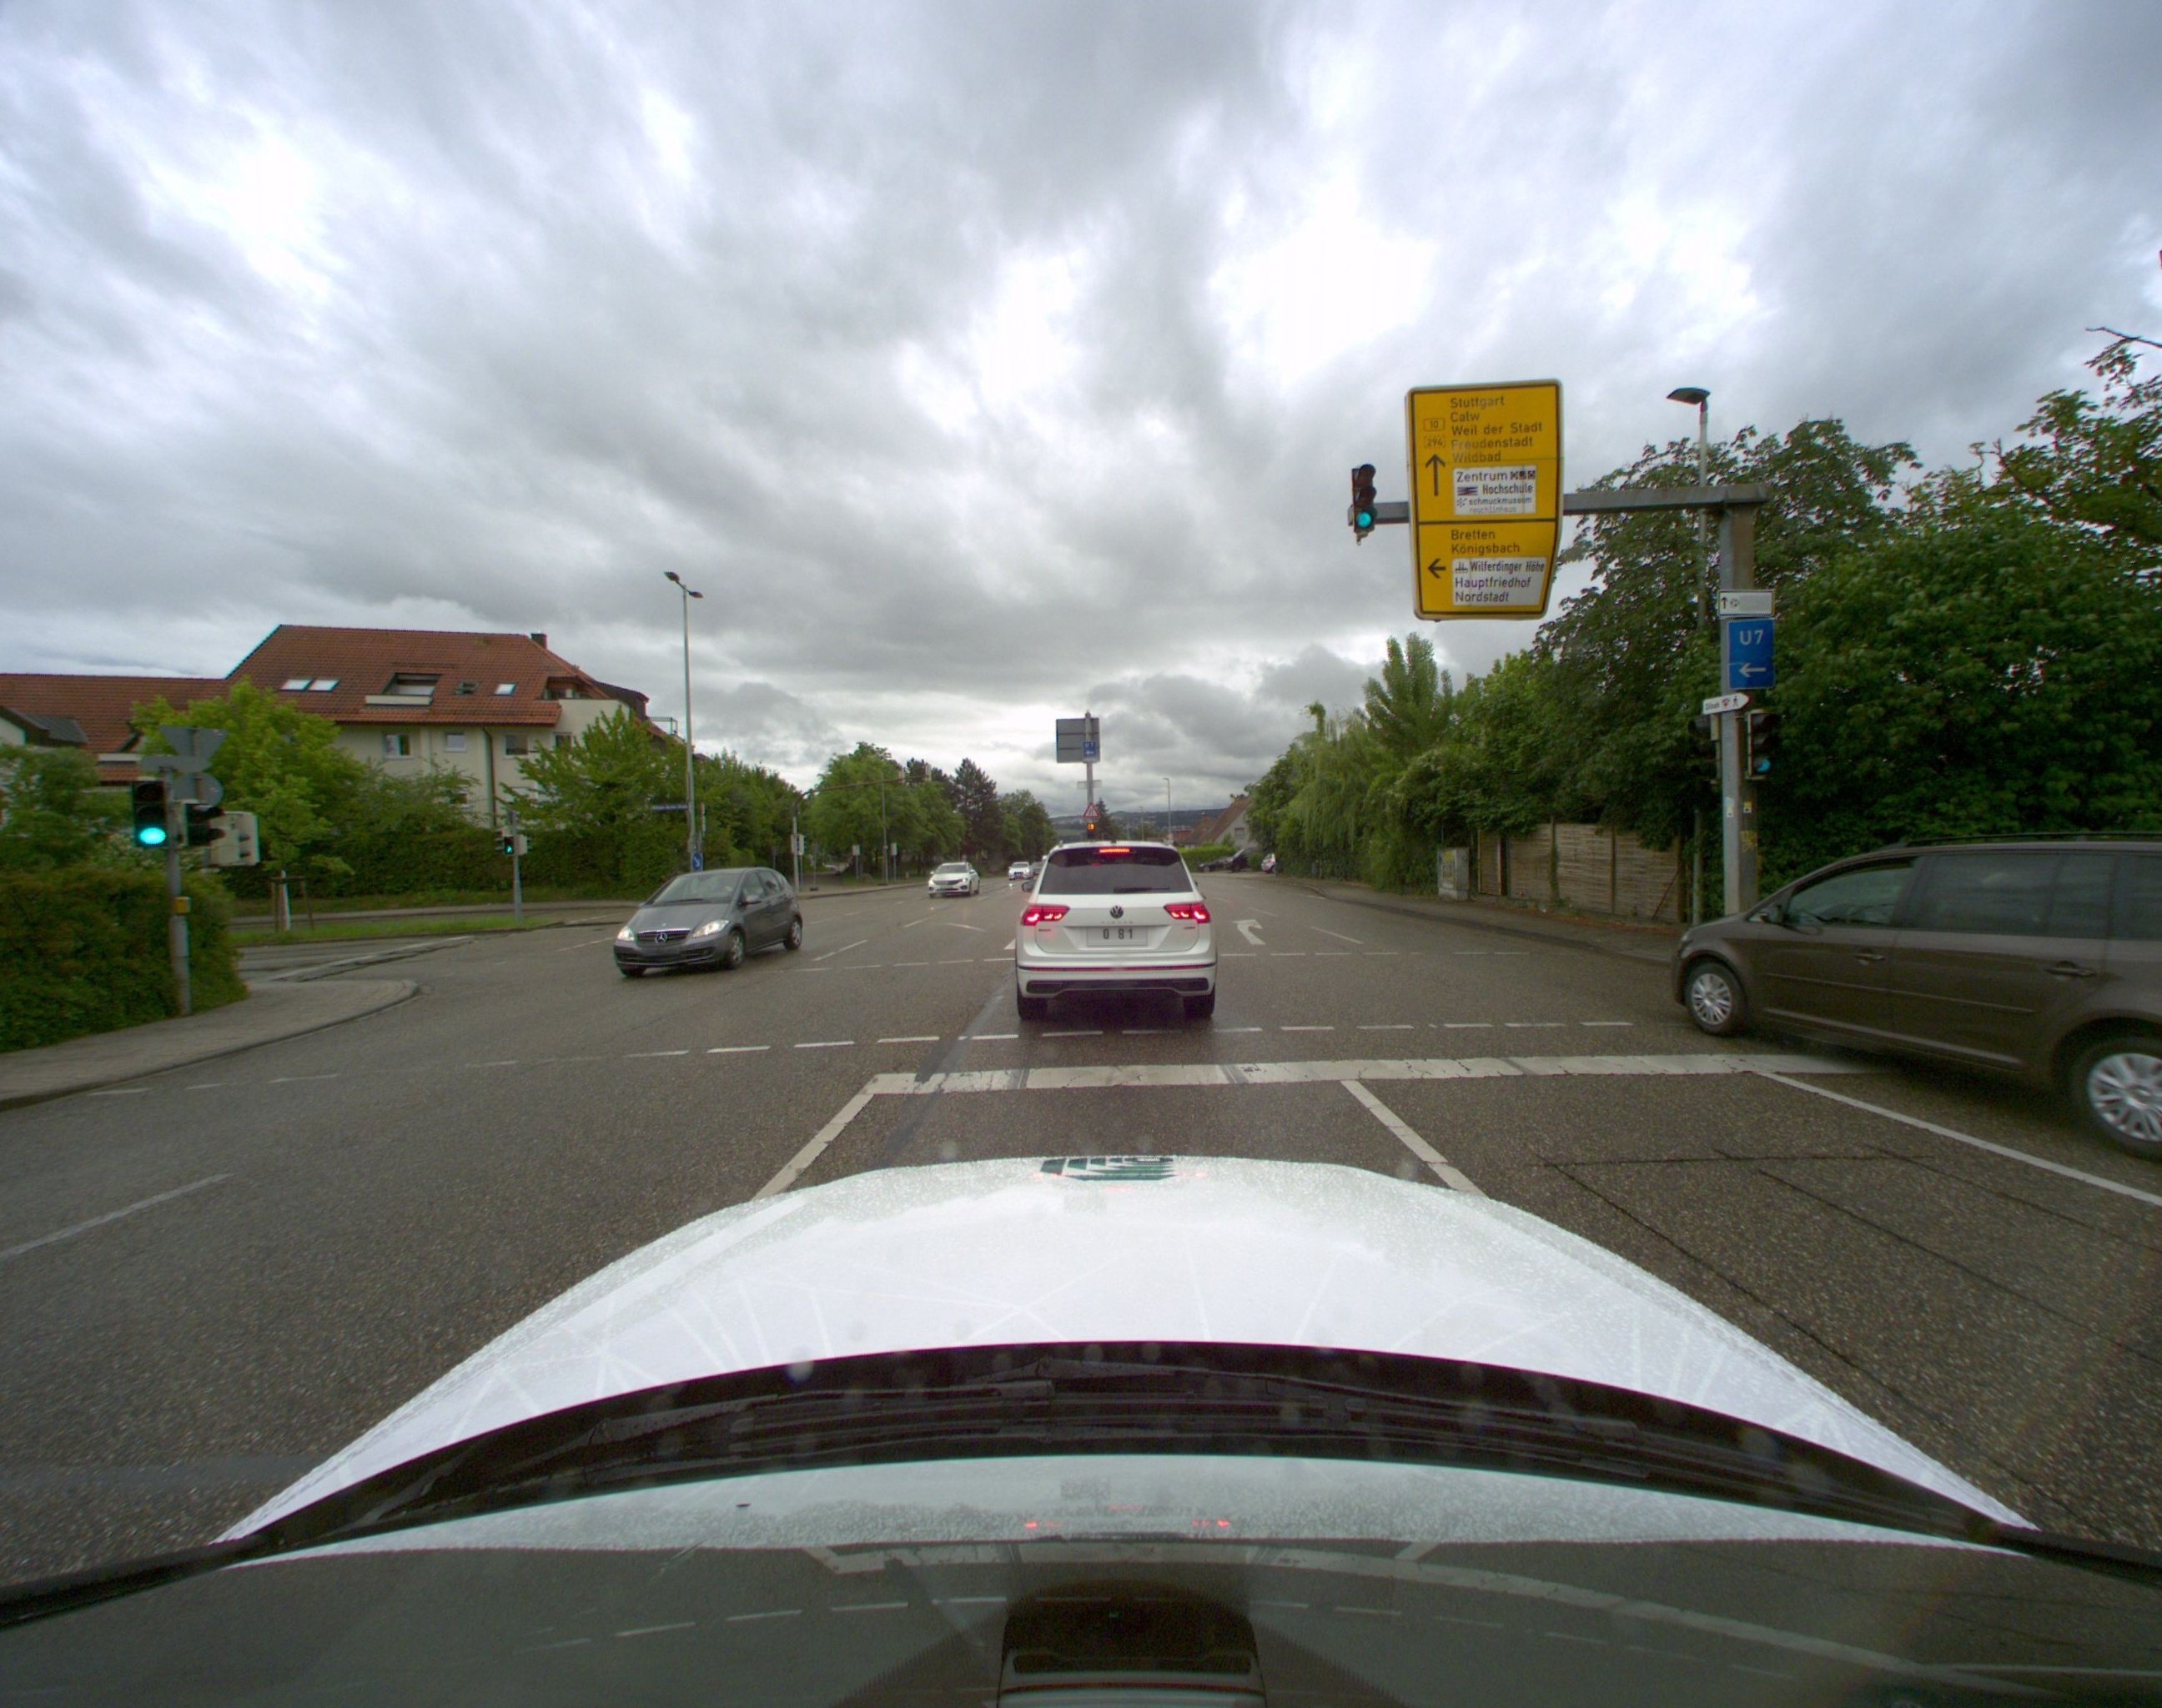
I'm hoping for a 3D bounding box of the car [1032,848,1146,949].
[{"bbox_3d":[0.205,0.704,14.924,1.791,1.589,3.928,-1,0,2],"label":"car"}]

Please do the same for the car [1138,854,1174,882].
[{"bbox_3d":[4.136,0.741,45.256,1.675,1.460,3.802,-1,0,1],"label":"car"}]

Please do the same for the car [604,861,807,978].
[{"bbox_3d":[-6.136,0.977,13.782,1.694,1.599,3.549,-3,0,0],"label":"car"}]

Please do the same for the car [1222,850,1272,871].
[{"bbox_3d":[13.336,0.523,65.466,3.618,1.626,1.790,-1,1,-3],"label":"car"}]

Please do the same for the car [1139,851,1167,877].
[{"bbox_3d":[5.136,0.690,58.415,1.706,1.758,3.802,-2,0,1],"label":"car"}]

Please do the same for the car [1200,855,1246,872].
[{"bbox_3d":[12.230,0.798,70.268,3.675,1.370,1.518,-1,-2,0],"label":"car"}]

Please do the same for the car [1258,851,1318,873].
[{"bbox_3d":[14.637,0.591,57.636,3.708,1.395,1.725,-2,-1,-6],"label":"car"}]

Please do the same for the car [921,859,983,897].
[{"bbox_3d":[-5.676,1.031,36.400,1.960,1.454,4.310,-2,0,1],"label":"car"}]

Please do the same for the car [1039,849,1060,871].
[{"bbox_3d":[-3.934,0.710,103.119,2.290,2.528,5.771,-3,0,-1],"label":"car"}]

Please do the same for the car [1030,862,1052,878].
[{"bbox_3d":[-4.001,1.581,82.080,1.769,1.502,4.472,-2,0,1],"label":"car"}]

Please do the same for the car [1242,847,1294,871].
[{"bbox_3d":[14.472,0.355,63.008,3.618,1.746,1.707,-1,1,-2],"label":"car"}]

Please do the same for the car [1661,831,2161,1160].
[{"bbox_3d":[6.039,0.672,5.232,1.730,1.575,4.068,0,0,0],"label":"car"}]

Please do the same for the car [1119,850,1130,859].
[{"bbox_3d":[7.867,0.074,147.128,1.843,1.574,4.002,-2,0,2],"label":"car"}]

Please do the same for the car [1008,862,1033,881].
[{"bbox_3d":[-4.934,1.393,66.808,1.740,1.397,3.801,-2,0,0],"label":"car"}]

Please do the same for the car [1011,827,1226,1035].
[{"bbox_3d":[0.351,0.628,8.820,1.756,1.696,4.273,0,0,1],"label":"car"}]
